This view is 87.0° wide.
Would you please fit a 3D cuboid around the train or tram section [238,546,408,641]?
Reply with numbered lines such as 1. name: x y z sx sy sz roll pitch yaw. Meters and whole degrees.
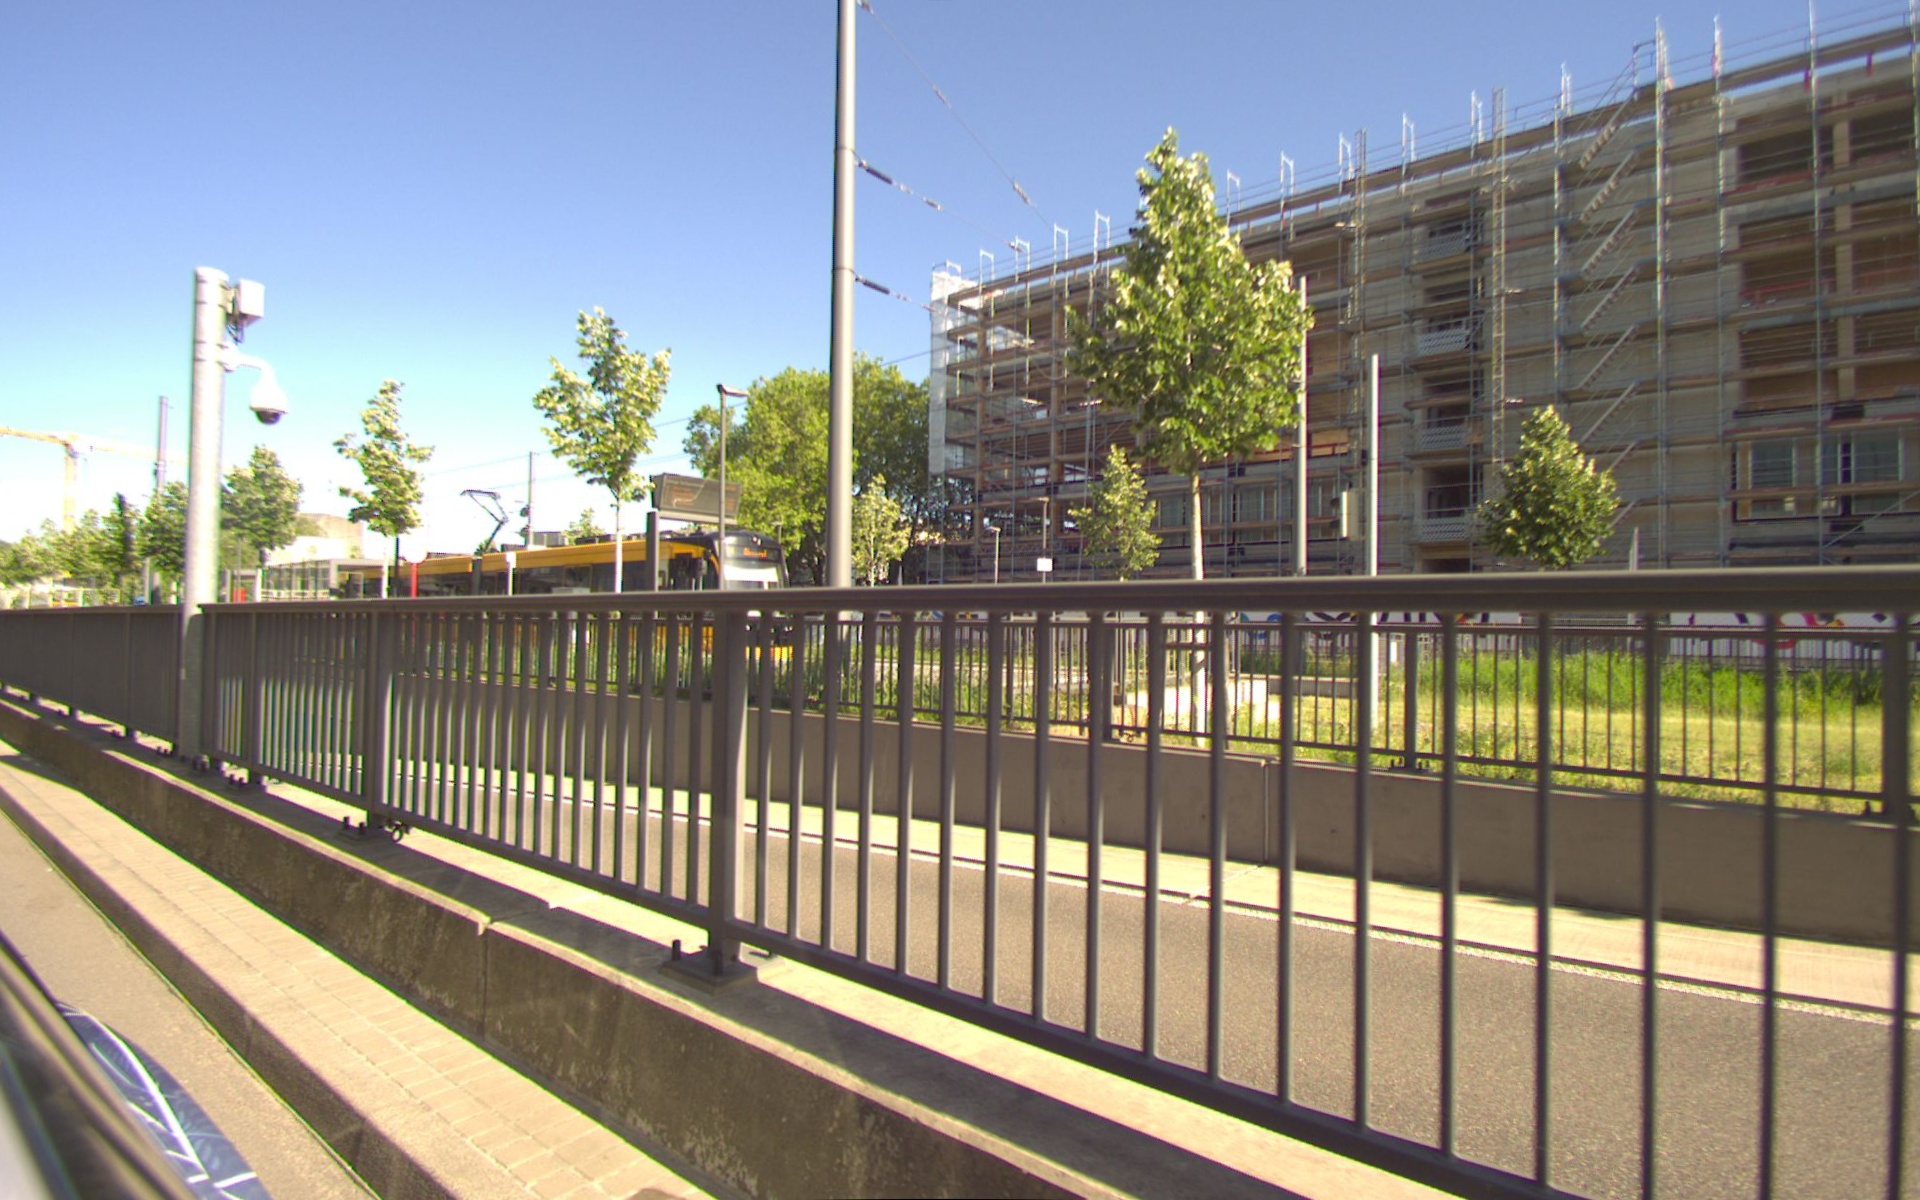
1. train or tram section: -28.270 -0.164 44.511 12.784 3.666 2.786 -1 -3 42

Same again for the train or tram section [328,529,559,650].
1. train or tram section: -18.732 -0.214 35.985 12.784 3.666 2.786 -1 -3 42

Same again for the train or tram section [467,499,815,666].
1. train or tram section: -9.197 -0.282 27.443 12.784 3.666 2.786 -1 -3 42
